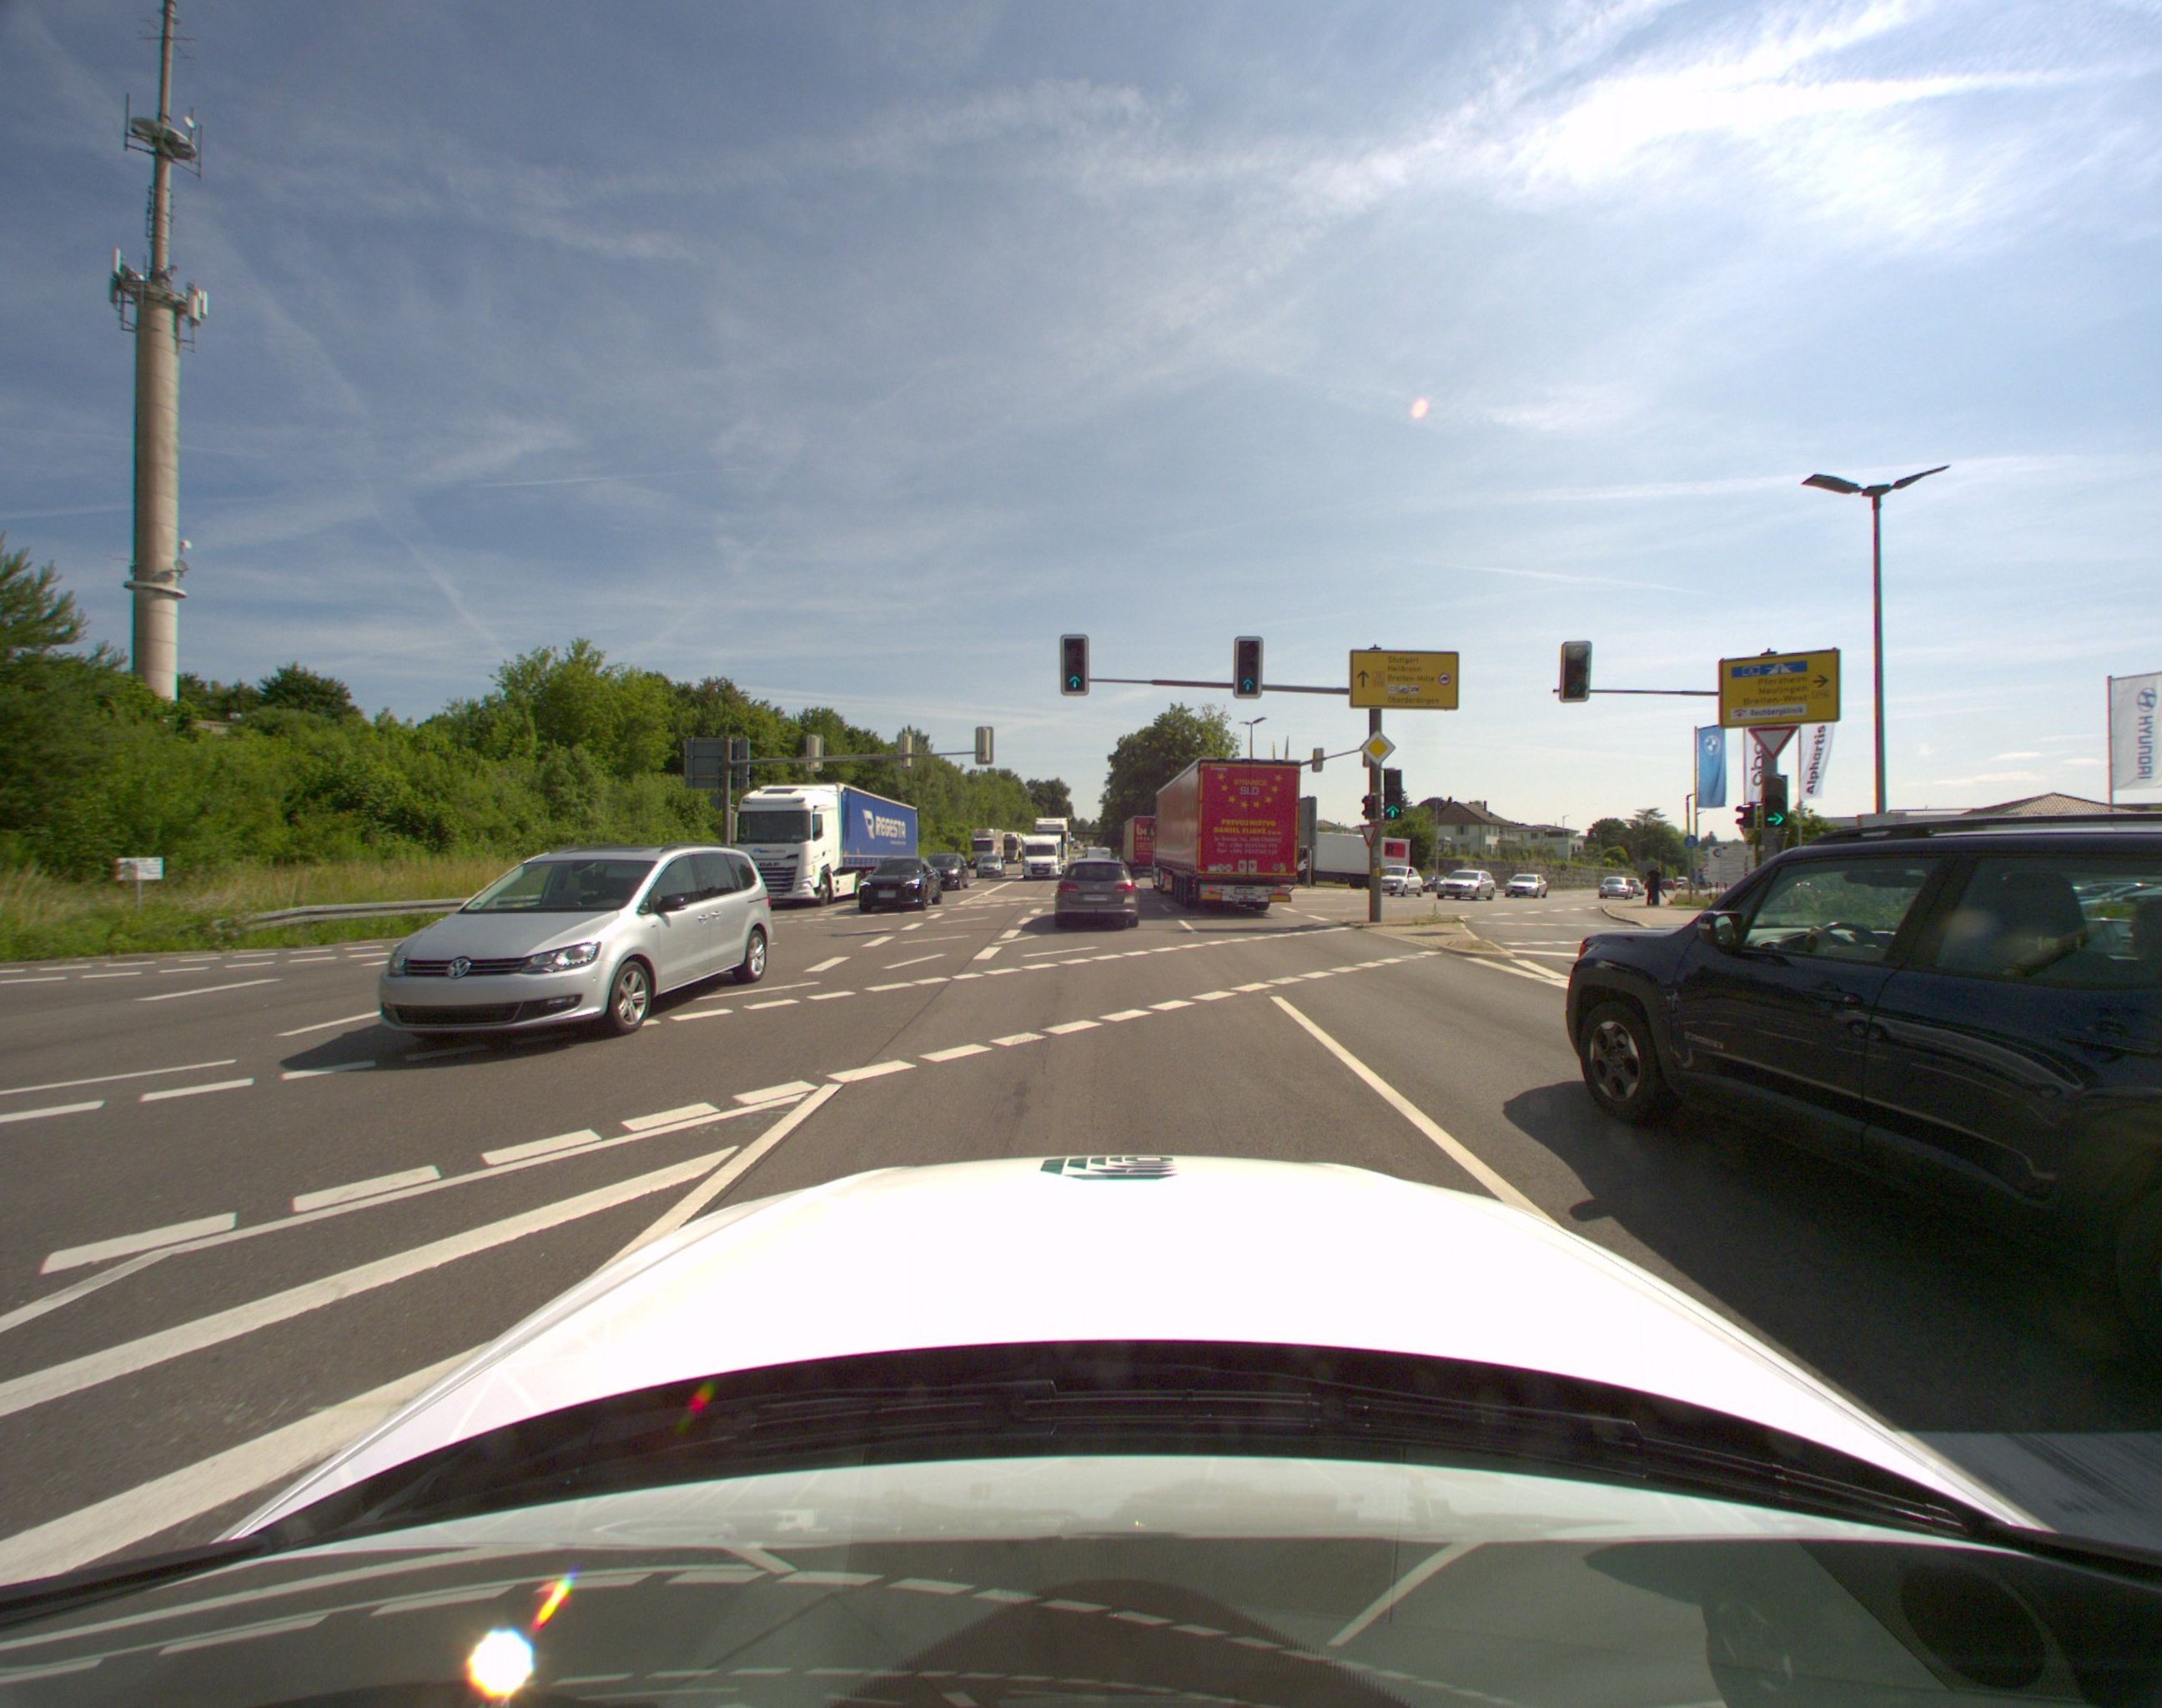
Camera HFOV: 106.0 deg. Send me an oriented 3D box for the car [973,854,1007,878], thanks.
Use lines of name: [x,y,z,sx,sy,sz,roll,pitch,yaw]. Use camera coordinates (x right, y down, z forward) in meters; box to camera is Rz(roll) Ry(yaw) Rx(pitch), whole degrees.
car: [-5.942,0.757,53.604,1.719,1.502,4.001,-1,0,1]

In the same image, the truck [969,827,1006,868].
truck: [-9.620,-0.604,84.833,2.721,3.999,9.617,-1,0,0]

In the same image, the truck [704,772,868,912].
truck: [-9.563,-0.356,27.292,3.178,4.079,6.344,-1,0,-1]

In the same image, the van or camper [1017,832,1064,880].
van or camper: [-2.285,0.102,48.085,2.322,2.600,6.979,-1,0,1]

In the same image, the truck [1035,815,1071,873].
truck: [-2.098,-0.721,61.683,2.530,4.088,6.262,-1,0,-1]

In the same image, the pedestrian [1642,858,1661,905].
pedestrian: [25.143,1.191,35.864,0.656,2.014,0.884,0,0,37]

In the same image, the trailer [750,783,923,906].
trailer: [-9.597,-0.324,34.489,3.083,4.079,14.123,-1,0,0]

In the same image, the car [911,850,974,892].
car: [-6.077,0.709,36.158,1.986,1.726,4.001,-1,0,1]

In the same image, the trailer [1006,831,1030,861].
trailer: [-8.933,-1.068,116.768,2.832,4.069,8.752,-1,0,-1]

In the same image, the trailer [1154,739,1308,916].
trailer: [4.335,-0.675,26.886,2.829,4.365,13.170,1,0,1]

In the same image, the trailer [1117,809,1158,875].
trailer: [3.901,-0.762,59.047,2.386,4.243,13.082,-1,0,2]

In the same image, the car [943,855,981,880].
car: [-8.483,0.907,58.164,1.987,1.676,4.308,-1,0,1]

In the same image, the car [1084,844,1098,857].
car: [1.547,-0.483,128.047,1.987,2.013,3.999,-1,0,-1]

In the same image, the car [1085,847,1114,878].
car: [1.176,0.530,53.904,1.765,1.936,3.976,-1,0,-1]

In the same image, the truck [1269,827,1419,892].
truck: [17.921,0.417,55.459,9.691,3.628,2.752,4,-2,-17]

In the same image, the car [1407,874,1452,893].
car: [26.709,2.242,62.382,1.974,1.460,4.347,-1,-2,40]

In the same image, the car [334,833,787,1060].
car: [-4.850,0.693,8.595,1.837,1.732,4.587,1,1,-1]

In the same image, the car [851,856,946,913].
car: [-5.285,0.819,24.161,1.989,1.485,4.449,-1,0,-3]

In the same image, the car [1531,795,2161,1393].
car: [3.867,0.650,3.411,1.764,1.654,4.000,-1,0,0]

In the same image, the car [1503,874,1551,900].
car: [28.002,2.044,51.039,1.894,1.498,4.024,1,-1,40]

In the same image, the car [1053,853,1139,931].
car: [0.285,0.755,18.199,1.686,1.513,3.999,-1,0,-1]

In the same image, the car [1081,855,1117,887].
car: [0.886,0.850,42.599,1.765,1.513,3.999,-1,0,-1]

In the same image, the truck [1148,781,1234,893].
truck: [4.470,-0.657,34.200,2.860,4.281,5.839,1,0,1]

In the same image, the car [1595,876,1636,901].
car: [36.504,2.306,55.573,1.974,1.575,4.025,2,0,38]

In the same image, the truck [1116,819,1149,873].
truck: [4.114,-0.608,65.923,2.397,4.127,5.523,-1,0,2]

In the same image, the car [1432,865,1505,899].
car: [19.082,1.373,40.010,1.975,1.505,5.030,1,-1,40]

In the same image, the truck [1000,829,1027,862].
truck: [-8.825,-1.110,107.528,2.821,4.116,9.678,-1,0,-1]

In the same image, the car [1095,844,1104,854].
car: [4.060,-1.080,180.705,1.987,2.013,3.999,-1,0,-1]

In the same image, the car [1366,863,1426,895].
car: [16.006,1.307,41.334,1.689,1.504,3.778,1,-1,40]
